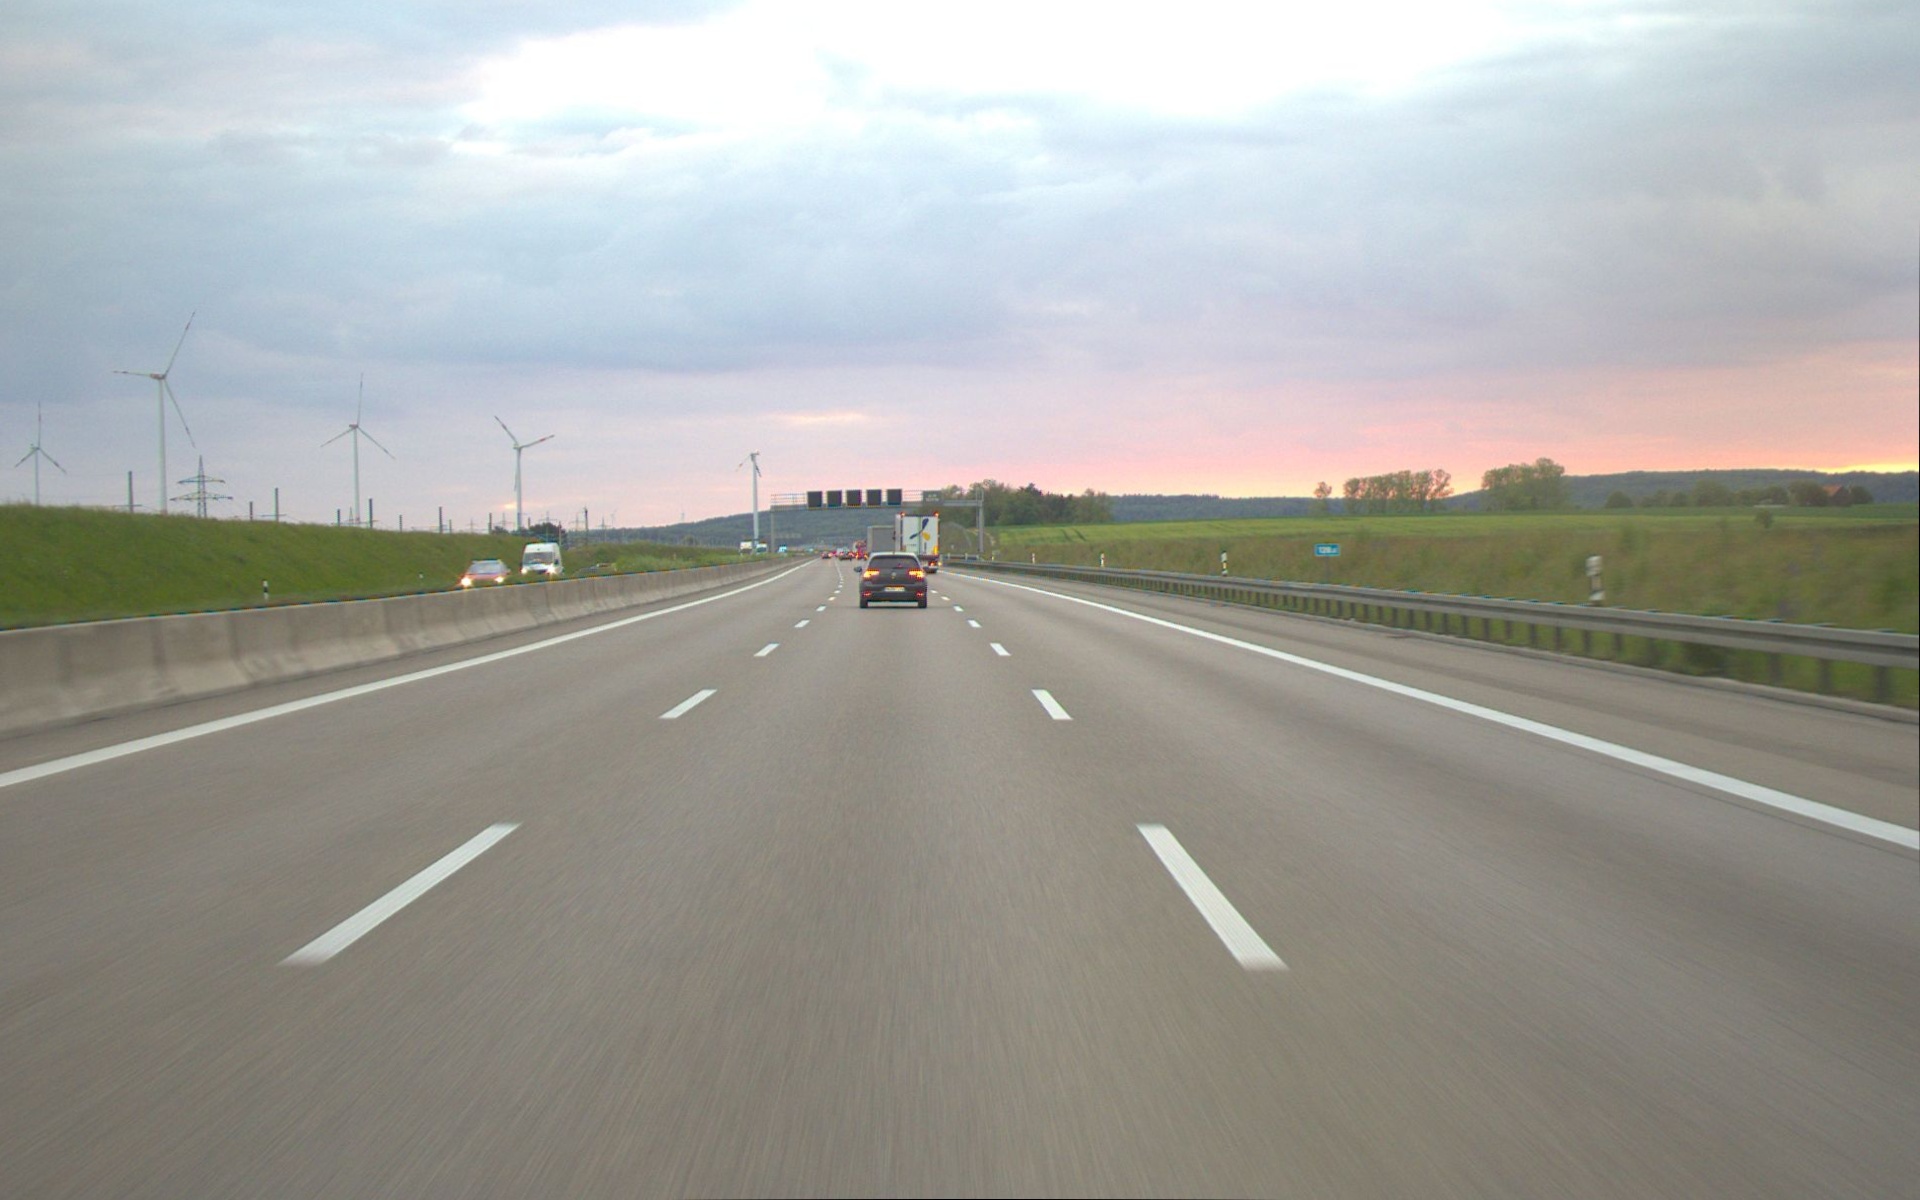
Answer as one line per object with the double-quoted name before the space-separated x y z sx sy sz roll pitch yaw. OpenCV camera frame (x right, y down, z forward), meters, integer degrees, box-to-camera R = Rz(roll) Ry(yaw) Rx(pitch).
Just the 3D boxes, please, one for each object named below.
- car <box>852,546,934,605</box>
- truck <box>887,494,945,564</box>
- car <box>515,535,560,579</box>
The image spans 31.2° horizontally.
"car" -1.711 -0.651 88.997 1.987 1.425 4.000 -1 1 1
"truck" -3.043 -4.836 234.322 3.675 4.549 10.982 -1 1 -2
"car" -25.513 -2.630 207.750 1.993 2.538 7.378 -1 1 -2
